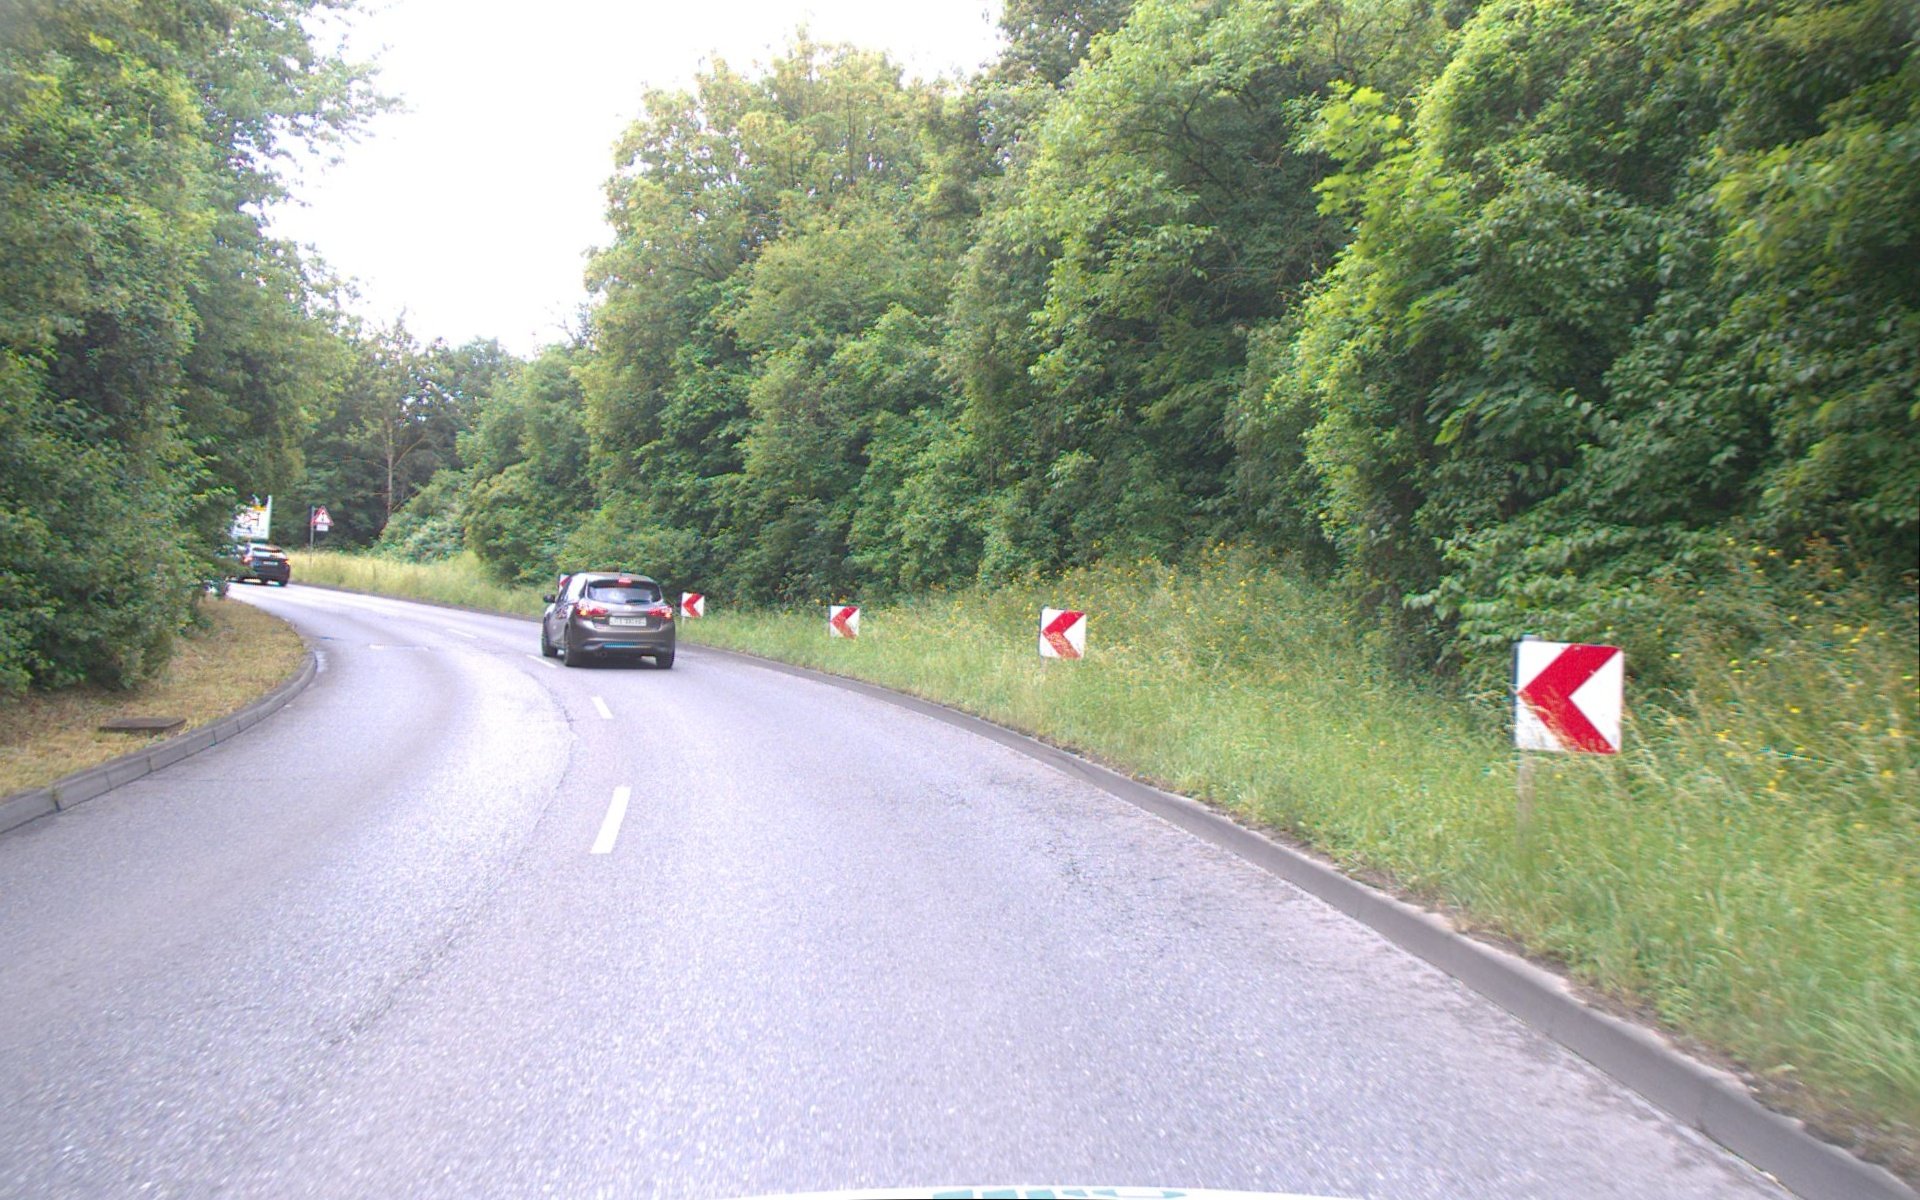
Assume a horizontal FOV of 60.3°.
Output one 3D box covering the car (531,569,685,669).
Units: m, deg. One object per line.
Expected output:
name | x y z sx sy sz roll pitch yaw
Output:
car | -6.074 0.280 28.211 1.815 1.509 3.972 1 1 -23

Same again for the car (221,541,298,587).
car | -26.061 -1.353 61.475 1.824 1.410 3.954 3 3 -35
